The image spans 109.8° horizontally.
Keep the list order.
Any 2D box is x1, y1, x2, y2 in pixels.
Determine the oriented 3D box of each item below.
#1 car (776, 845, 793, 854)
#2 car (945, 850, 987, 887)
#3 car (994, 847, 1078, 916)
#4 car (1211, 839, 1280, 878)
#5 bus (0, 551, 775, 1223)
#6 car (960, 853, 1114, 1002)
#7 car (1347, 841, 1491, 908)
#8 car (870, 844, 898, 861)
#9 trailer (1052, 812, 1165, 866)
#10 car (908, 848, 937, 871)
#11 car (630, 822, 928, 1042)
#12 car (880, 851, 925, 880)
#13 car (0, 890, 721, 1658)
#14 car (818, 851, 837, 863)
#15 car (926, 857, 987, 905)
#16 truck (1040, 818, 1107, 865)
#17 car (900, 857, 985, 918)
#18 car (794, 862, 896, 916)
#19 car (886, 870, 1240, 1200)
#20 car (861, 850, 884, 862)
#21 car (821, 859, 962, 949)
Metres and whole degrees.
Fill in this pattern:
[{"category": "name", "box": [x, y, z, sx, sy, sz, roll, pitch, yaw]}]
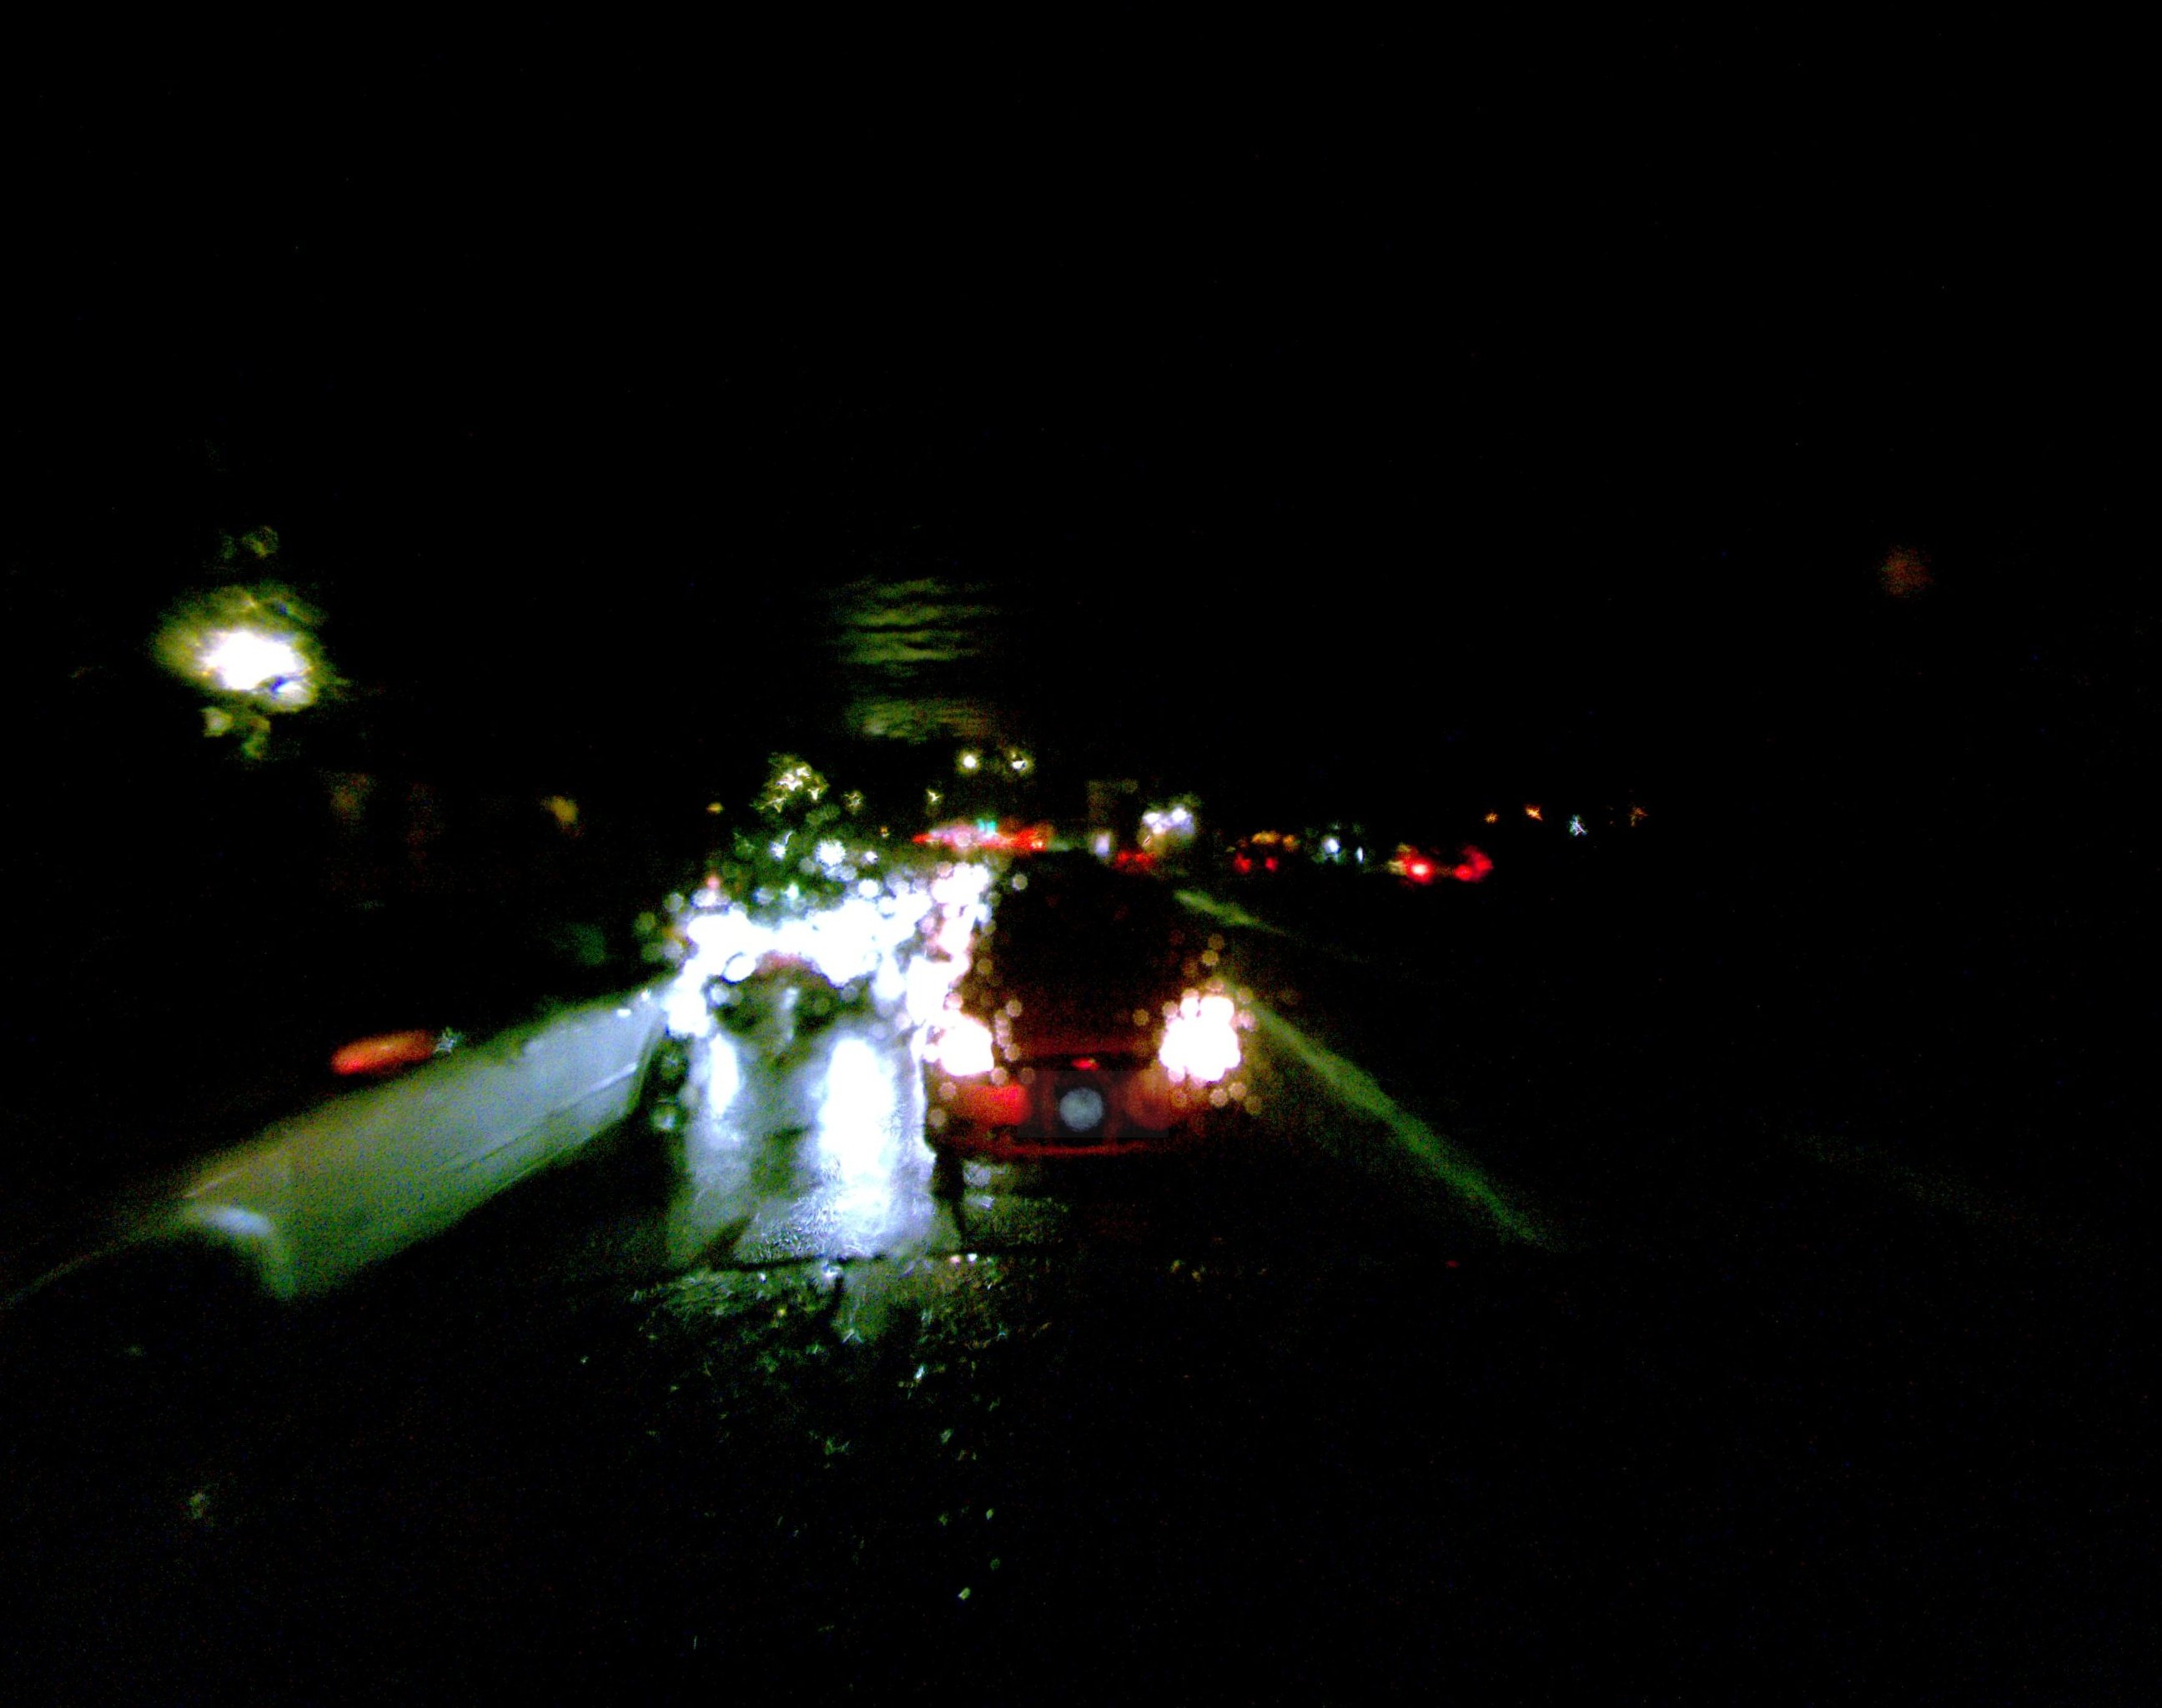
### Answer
[{"category": "car", "box": [-51.401, -0.750, 131.706, 1.885, 1.463, 3.990, -3, 1, -33]}, {"category": "car", "box": [-5.398, 0.645, 36.060, 1.743, 1.581, 3.997, -2, 1, -6]}, {"category": "car", "box": [-1.121, 0.632, 19.717, 1.881, 1.534, 3.999, -2, 1, -2]}, {"category": "car", "box": [8.079, 0.193, 37.793, 1.970, 1.731, 4.916, -2, 1, -4]}, {"category": "bus", "box": [-6.569, 0.197, 8.244, 2.776, 3.105, 9.760, -2, 0, -2]}, {"category": "car", "box": [-0.476, 0.838, 10.632, 1.683, 1.591, 3.996, -2, 1, 1]}, {"category": "car", "box": [9.898, 0.529, 22.694, 1.910, 1.731, 4.395, -2, 1, -6]}, {"category": "car", "box": [-18.073, -0.138, 69.665, 1.856, 1.423, 4.492, -3, 2, -22]}, {"category": "trailer", "box": [2.015, -1.165, 66.352, 3.974, 4.152, 13.892, -3, 1, -24]}, {"category": "car", "box": [-14.941, 0.534, 71.493, 2.002, 2.002, 3.993, -3, 1, -19]}, {"category": "car", "box": [-3.378, 0.737, 9.592, 1.999, 2.076, 4.347, -2, 1, -1]}, {"category": "car", "box": [-9.675, 0.606, 41.481, 1.854, 1.476, 4.626, -1, 0, -7]}, {"category": "car", "box": [-3.168, 0.994, 2.700, 1.792, 1.359, 3.999, -2, 2, 0]}, {"category": "car", "box": [-32.057, 0.408, 95.987, 1.884, 1.463, 3.992, -3, 1, -22]}, {"category": "car", "box": [-4.370, 0.892, 27.093, 1.683, 1.463, 3.998, -2, 1, -3]}, {"category": "truck", "box": [-0.781, -1.139, 72.485, 3.974, 4.152, 6.364, -3, 1, -24]}, {"category": "car", "box": [-3.930, 0.909, 22.187, 1.629, 1.494, 3.999, -2, 1, 1]}, {"category": "car", "box": [-7.716, 1.087, 25.314, 1.842, 1.469, 4.628, -2, 1, 1]}, {"category": "car", "box": [-0.056, 0.896, 5.522, 1.603, 1.360, 3.942, -2, 1, 1]}, {"category": "car", "box": [-27.659, 0.284, 100.658, 1.857, 1.476, 4.475, -1, 0, -30]}, {"category": "car", "box": [-3.751, 0.931, 15.754, 1.869, 1.503, 3.766, -2, 1, 1]}]
